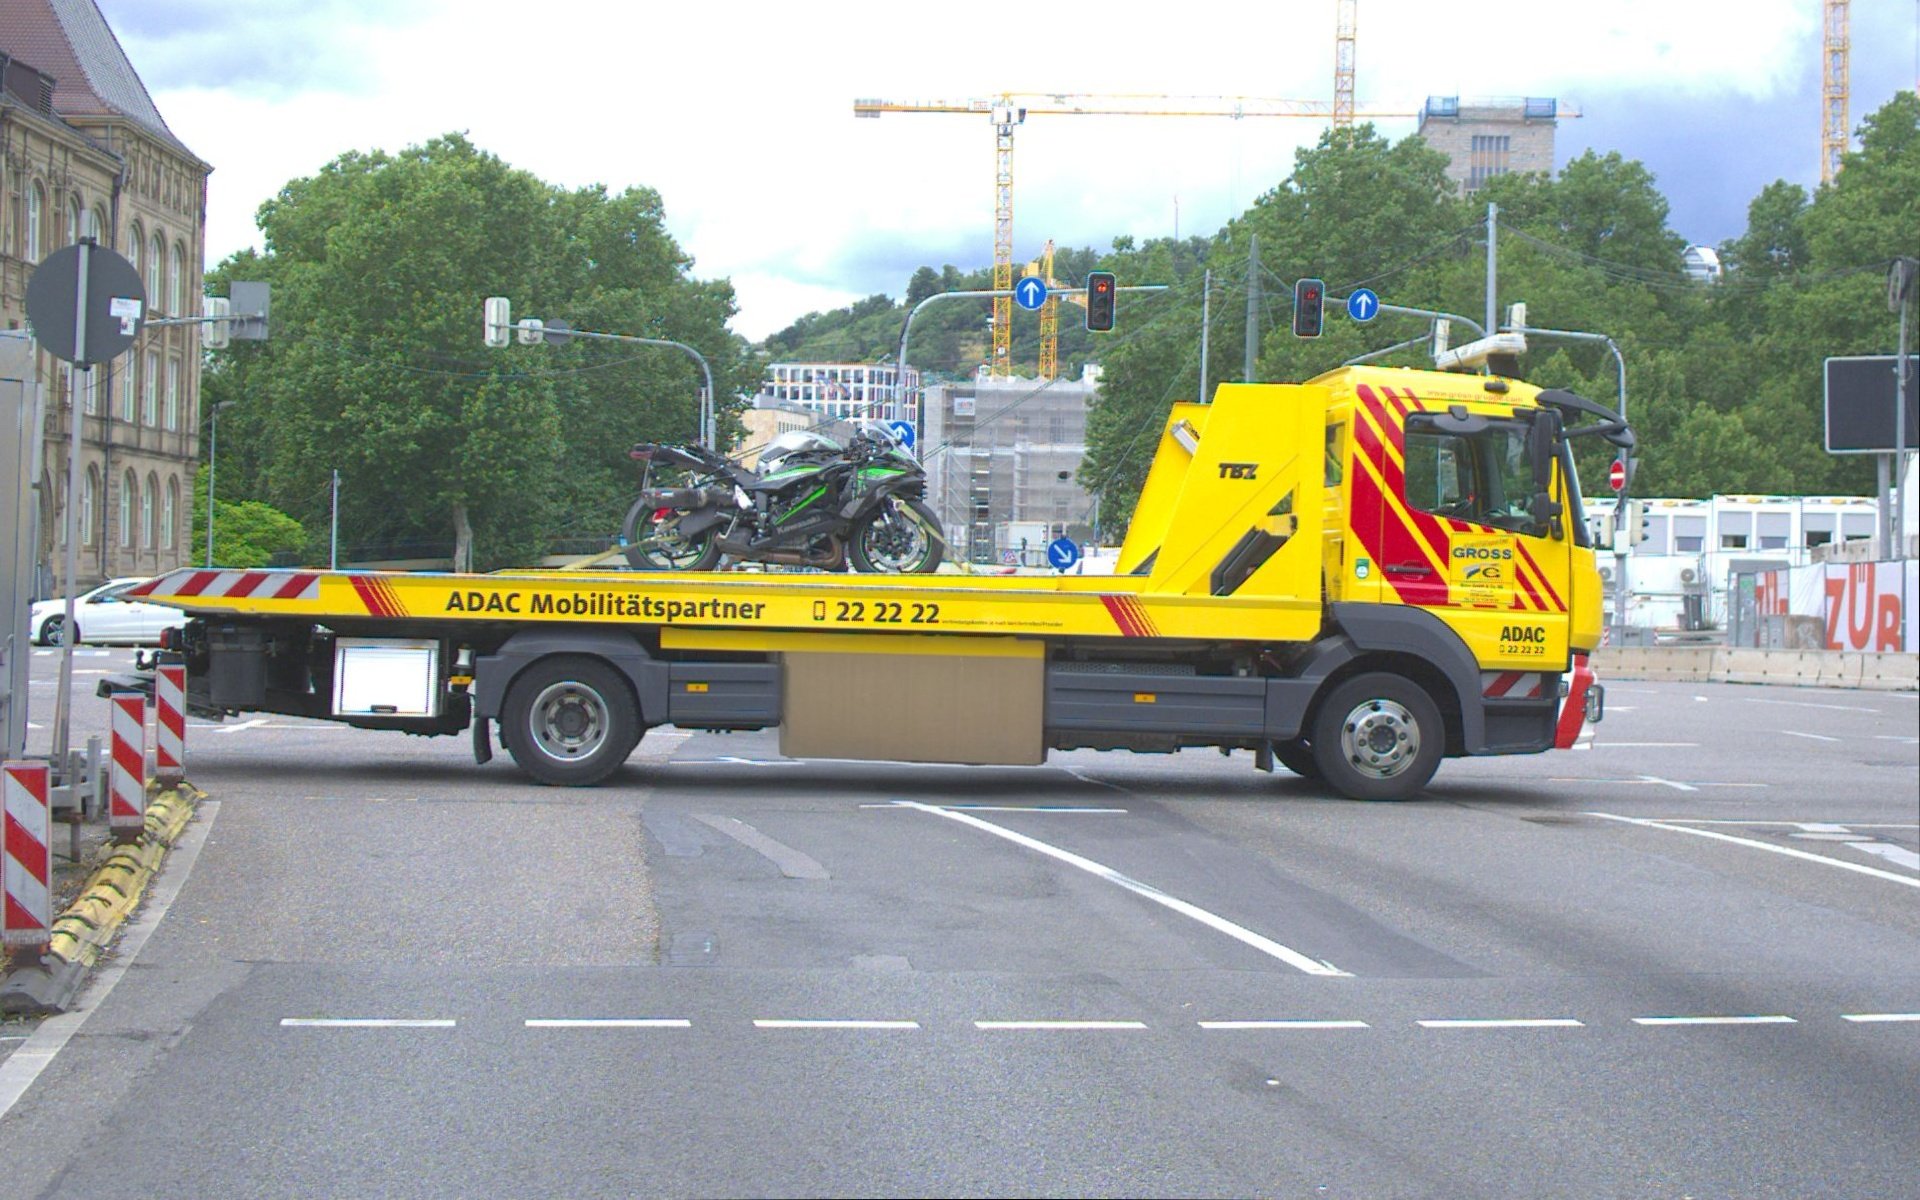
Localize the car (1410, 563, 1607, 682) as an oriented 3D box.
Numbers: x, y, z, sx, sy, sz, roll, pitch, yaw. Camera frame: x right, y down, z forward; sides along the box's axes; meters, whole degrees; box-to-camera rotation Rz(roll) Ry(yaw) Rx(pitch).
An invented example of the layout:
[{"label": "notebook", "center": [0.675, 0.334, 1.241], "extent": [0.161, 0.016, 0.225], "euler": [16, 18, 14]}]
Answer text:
[{"label": "car", "center": [8.499, 0.314, 53.650], "extent": [1.993, 1.753, 4.506], "euler": [1, 1, -5]}]

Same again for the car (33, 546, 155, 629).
[{"label": "car", "center": [-20.045, -0.303, 79.736], "extent": [1.993, 1.831, 4.001], "euler": [1, 1, -3]}]

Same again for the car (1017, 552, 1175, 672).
[{"label": "car", "center": [2.140, 0.157, 55.257], "extent": [1.863, 1.827, 4.723], "euler": [1, 1, -6]}]

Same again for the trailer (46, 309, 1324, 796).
[{"label": "trailer", "center": [-1.637, -0.278, 21.342], "extent": [7.348, 2.716, 2.863], "euler": [1, 0, -3]}]

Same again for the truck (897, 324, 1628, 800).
[{"label": "truck", "center": [1.745, -0.232, 21.506], "extent": [4.204, 2.716, 2.863], "euler": [1, 0, -2]}]

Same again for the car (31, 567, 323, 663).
[{"label": "car", "center": [-15.112, 0.283, 66.334], "extent": [5.168, 1.779, 2.165], "euler": [1, 1, -23]}]

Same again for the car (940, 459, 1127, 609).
[{"label": "car", "center": [0.898, -0.843, 44.683], "extent": [1.993, 1.828, 4.258], "euler": [1, 1, -5]}]
